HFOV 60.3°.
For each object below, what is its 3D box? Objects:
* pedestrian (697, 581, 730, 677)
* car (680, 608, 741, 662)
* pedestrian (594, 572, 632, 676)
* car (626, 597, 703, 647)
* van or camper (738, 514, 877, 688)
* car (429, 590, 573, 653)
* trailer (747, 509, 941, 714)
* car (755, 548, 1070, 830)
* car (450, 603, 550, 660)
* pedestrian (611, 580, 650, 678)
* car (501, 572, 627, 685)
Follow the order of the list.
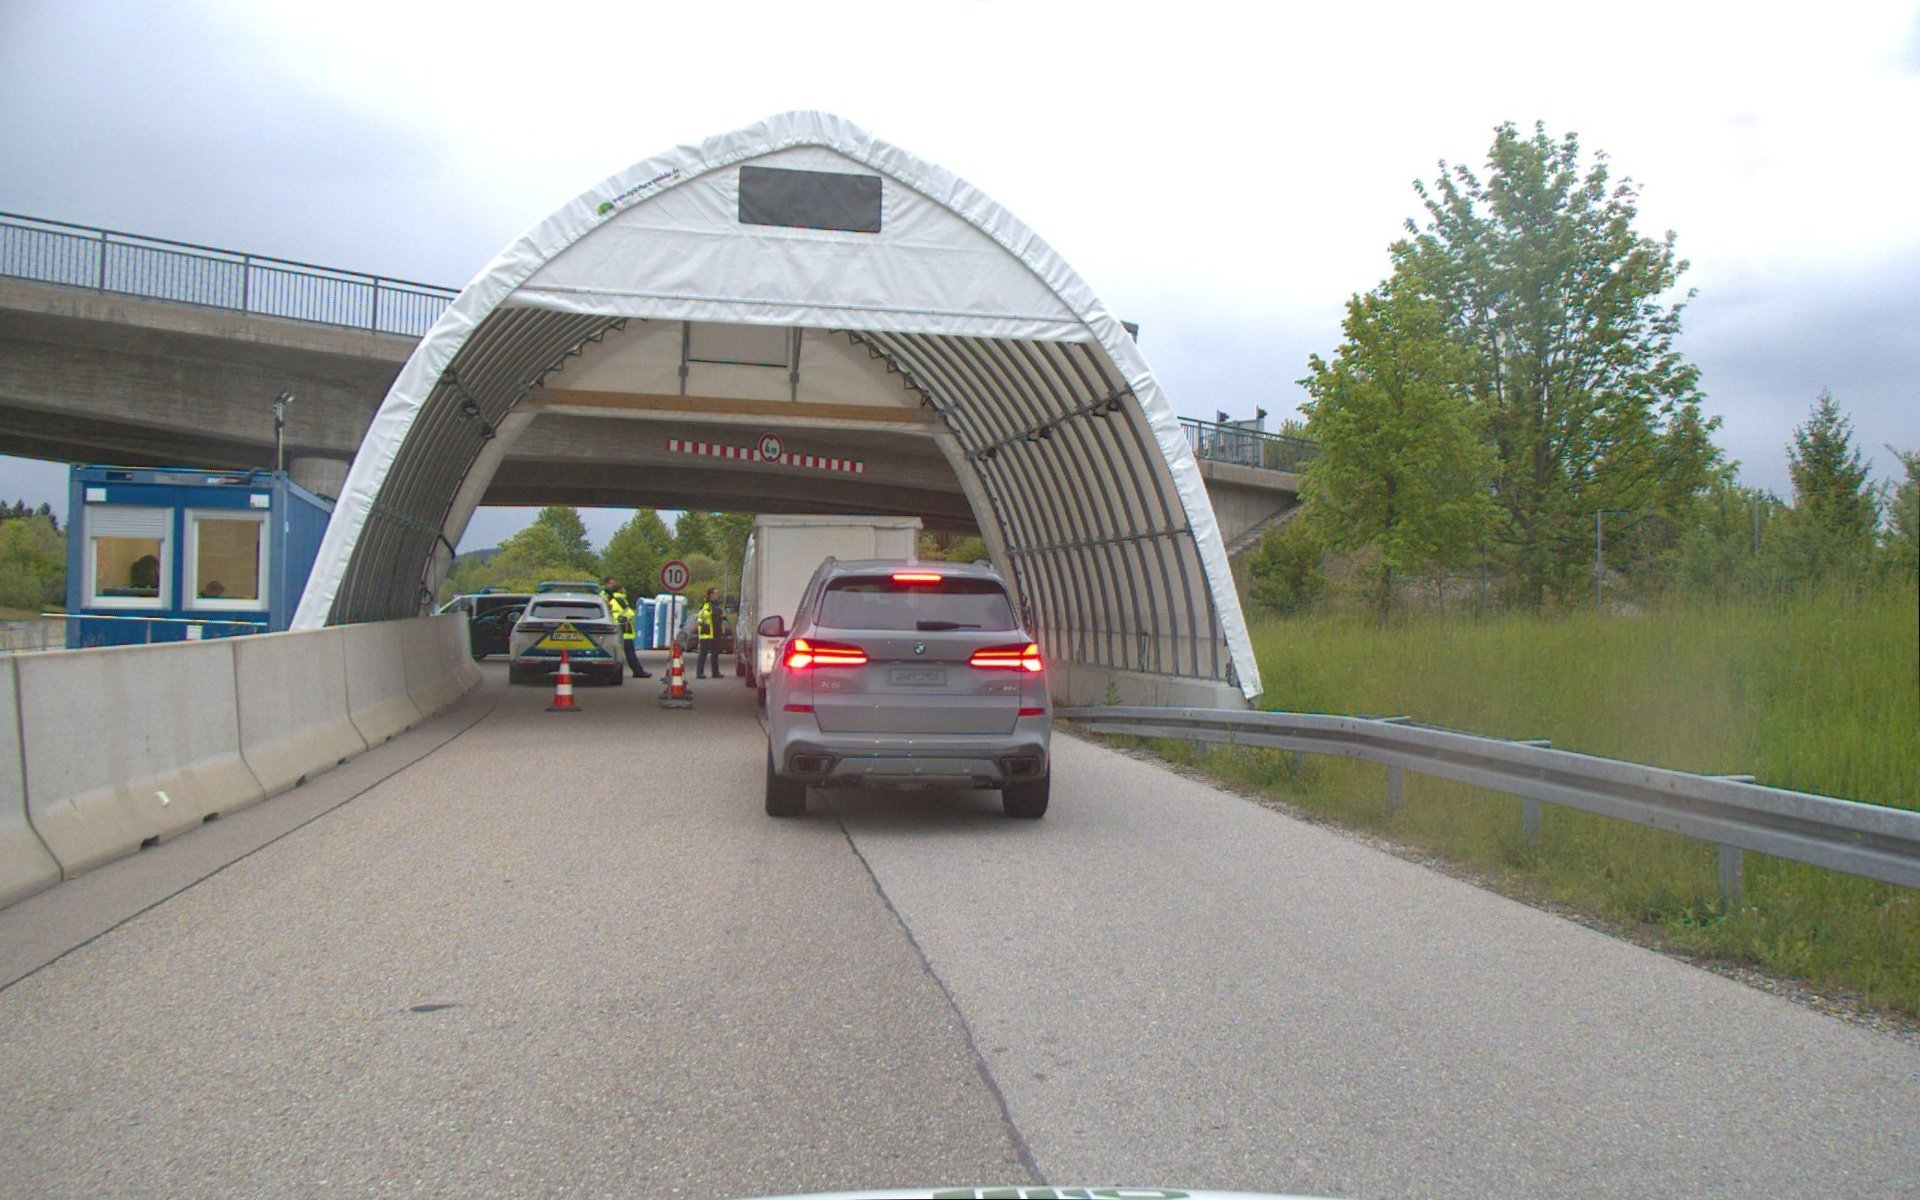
[{"bbox_3d":[-4.666,0.541,31.326,0.593,1.807,0.648,0,-1,-11],"label":"pedestrian"},{"bbox_3d":[-9.082,1.223,60.102,1.676,1.886,3.982,0,0,-16],"label":"car"},{"bbox_3d":[-6.695,0.461,31.912,0.707,1.979,0.688,0,-1,-11],"label":"pedestrian"},{"bbox_3d":[-12.505,0.918,69.789,1.973,2.049,3.959,0,-1,-30],"label":"car"},{"bbox_3d":[-2.861,0.067,29.800,2.117,2.812,5.858,0,-1,-9],"label":"van or camper"},{"bbox_3d":[-14.103,0.654,50.896,3.903,1.886,1.710,0,0,4],"label":"car"},{"bbox_3d":[-1.839,0.206,23.557,2.236,2.473,6.803,0,-1,-8],"label":"trailer"},{"bbox_3d":[-0.419,0.580,12.331,1.954,1.750,3.997,0,-1,-4],"label":"car"},{"bbox_3d":[-12.238,0.814,43.942,1.503,1.467,3.272,0,0,-37],"label":"car"},{"bbox_3d":[-6.173,0.532,30.965,0.707,1.807,0.688,0,-1,-11],"label":"pedestrian"},{"bbox_3d":[-6.757,0.469,28.540,1.958,1.803,3.754,0,0,-12],"label":"car"}]
